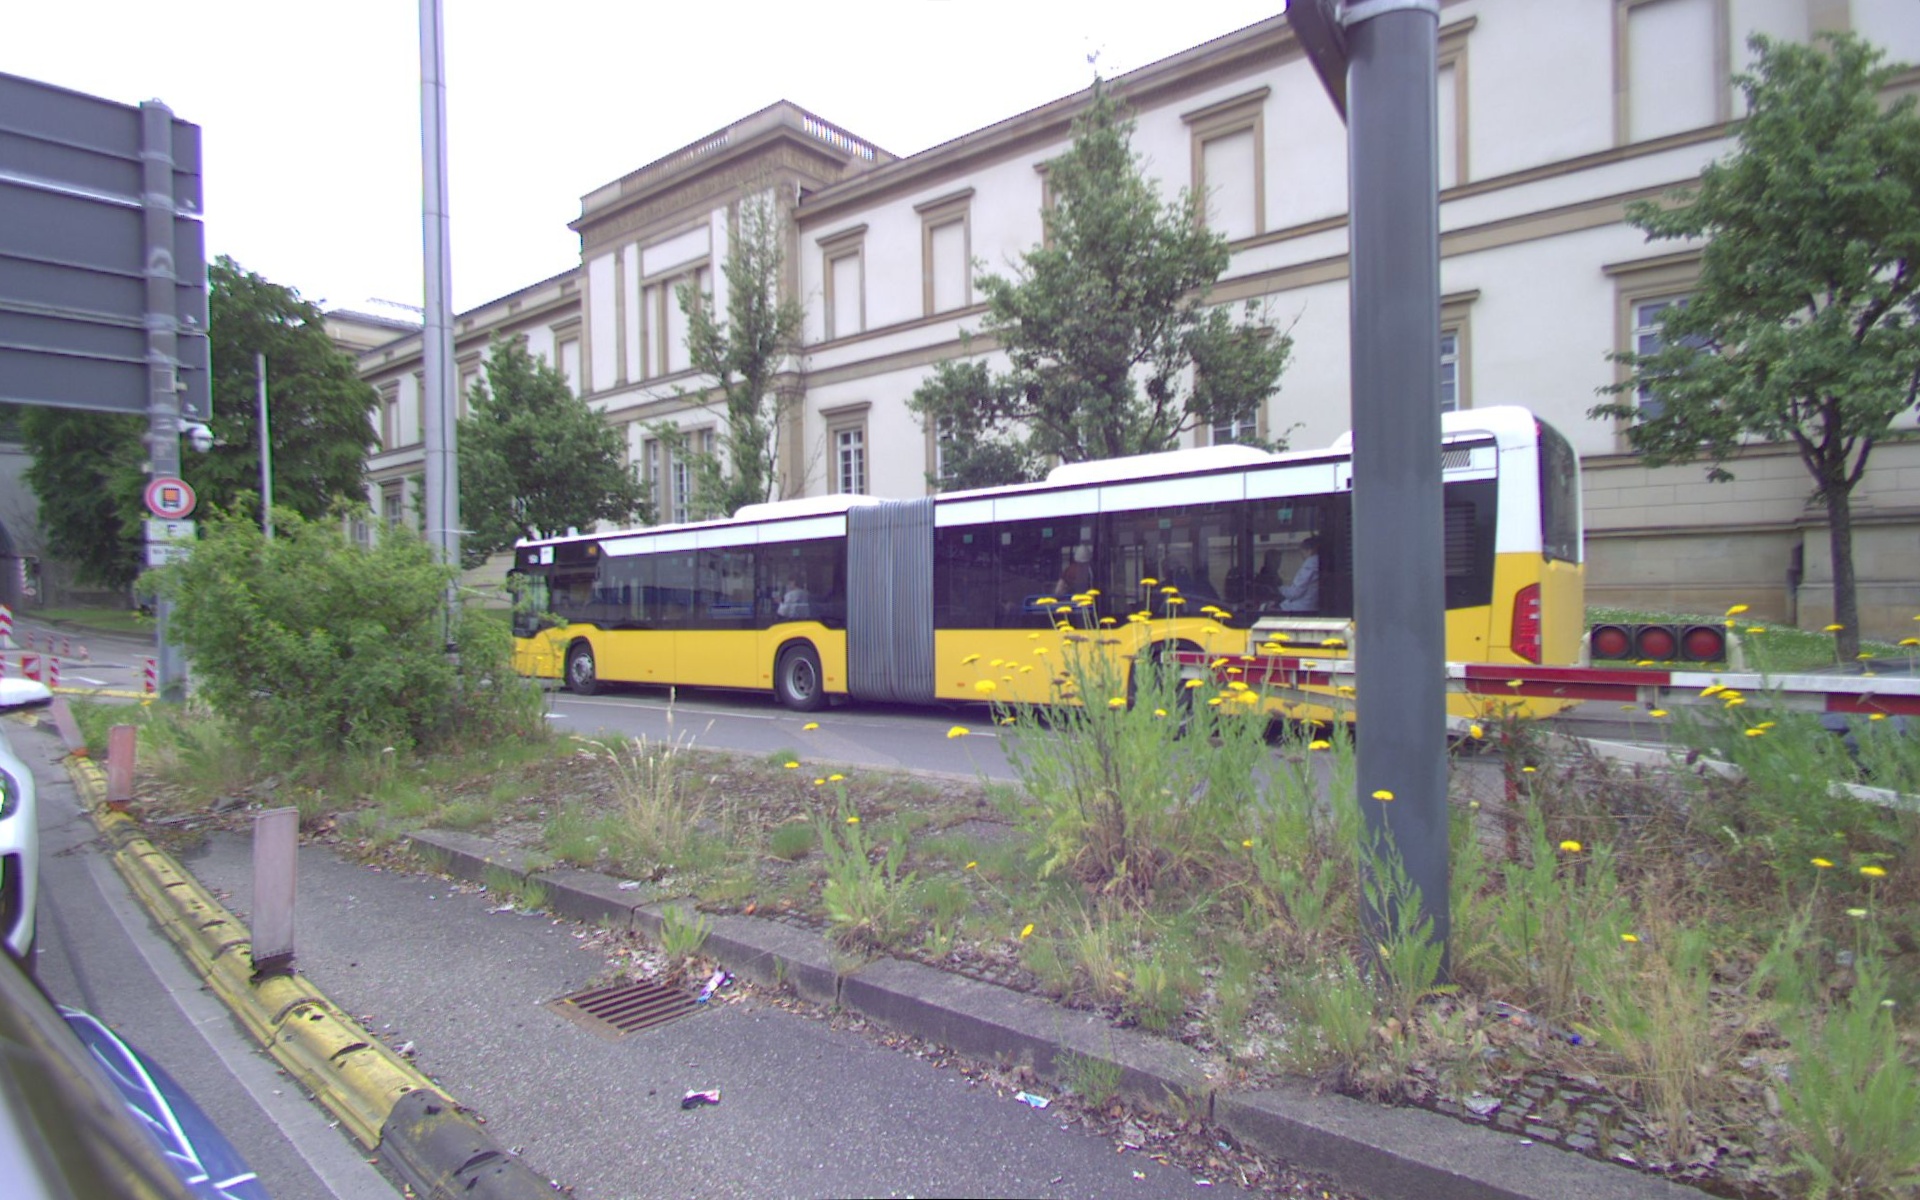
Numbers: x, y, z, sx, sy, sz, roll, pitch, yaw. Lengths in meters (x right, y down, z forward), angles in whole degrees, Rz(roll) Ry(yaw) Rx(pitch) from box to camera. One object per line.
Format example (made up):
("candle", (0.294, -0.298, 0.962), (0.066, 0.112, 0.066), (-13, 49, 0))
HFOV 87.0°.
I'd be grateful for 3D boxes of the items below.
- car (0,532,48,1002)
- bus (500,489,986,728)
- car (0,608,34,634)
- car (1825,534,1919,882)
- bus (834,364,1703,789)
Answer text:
("car", (-5.252, 0.624, 4.175), (3.881, 1.603, 1.824), (-2, 0, 42))
("bus", (-4.249, 0.176, 17.522), (9.741, 3.137, 2.817), (-1, 0, 40))
("car", (-58.211, 1.311, 62.185), (2.820, 1.563, 1.520), (-1, -1, 38))
("car", (6.221, 0.454, 4.229), (3.879, 1.601, 1.680), (-1, 0, 40))
("bus", (2.680, -0.113, 11.557), (9.118, 3.137, 2.816), (-1, 0, 41))
